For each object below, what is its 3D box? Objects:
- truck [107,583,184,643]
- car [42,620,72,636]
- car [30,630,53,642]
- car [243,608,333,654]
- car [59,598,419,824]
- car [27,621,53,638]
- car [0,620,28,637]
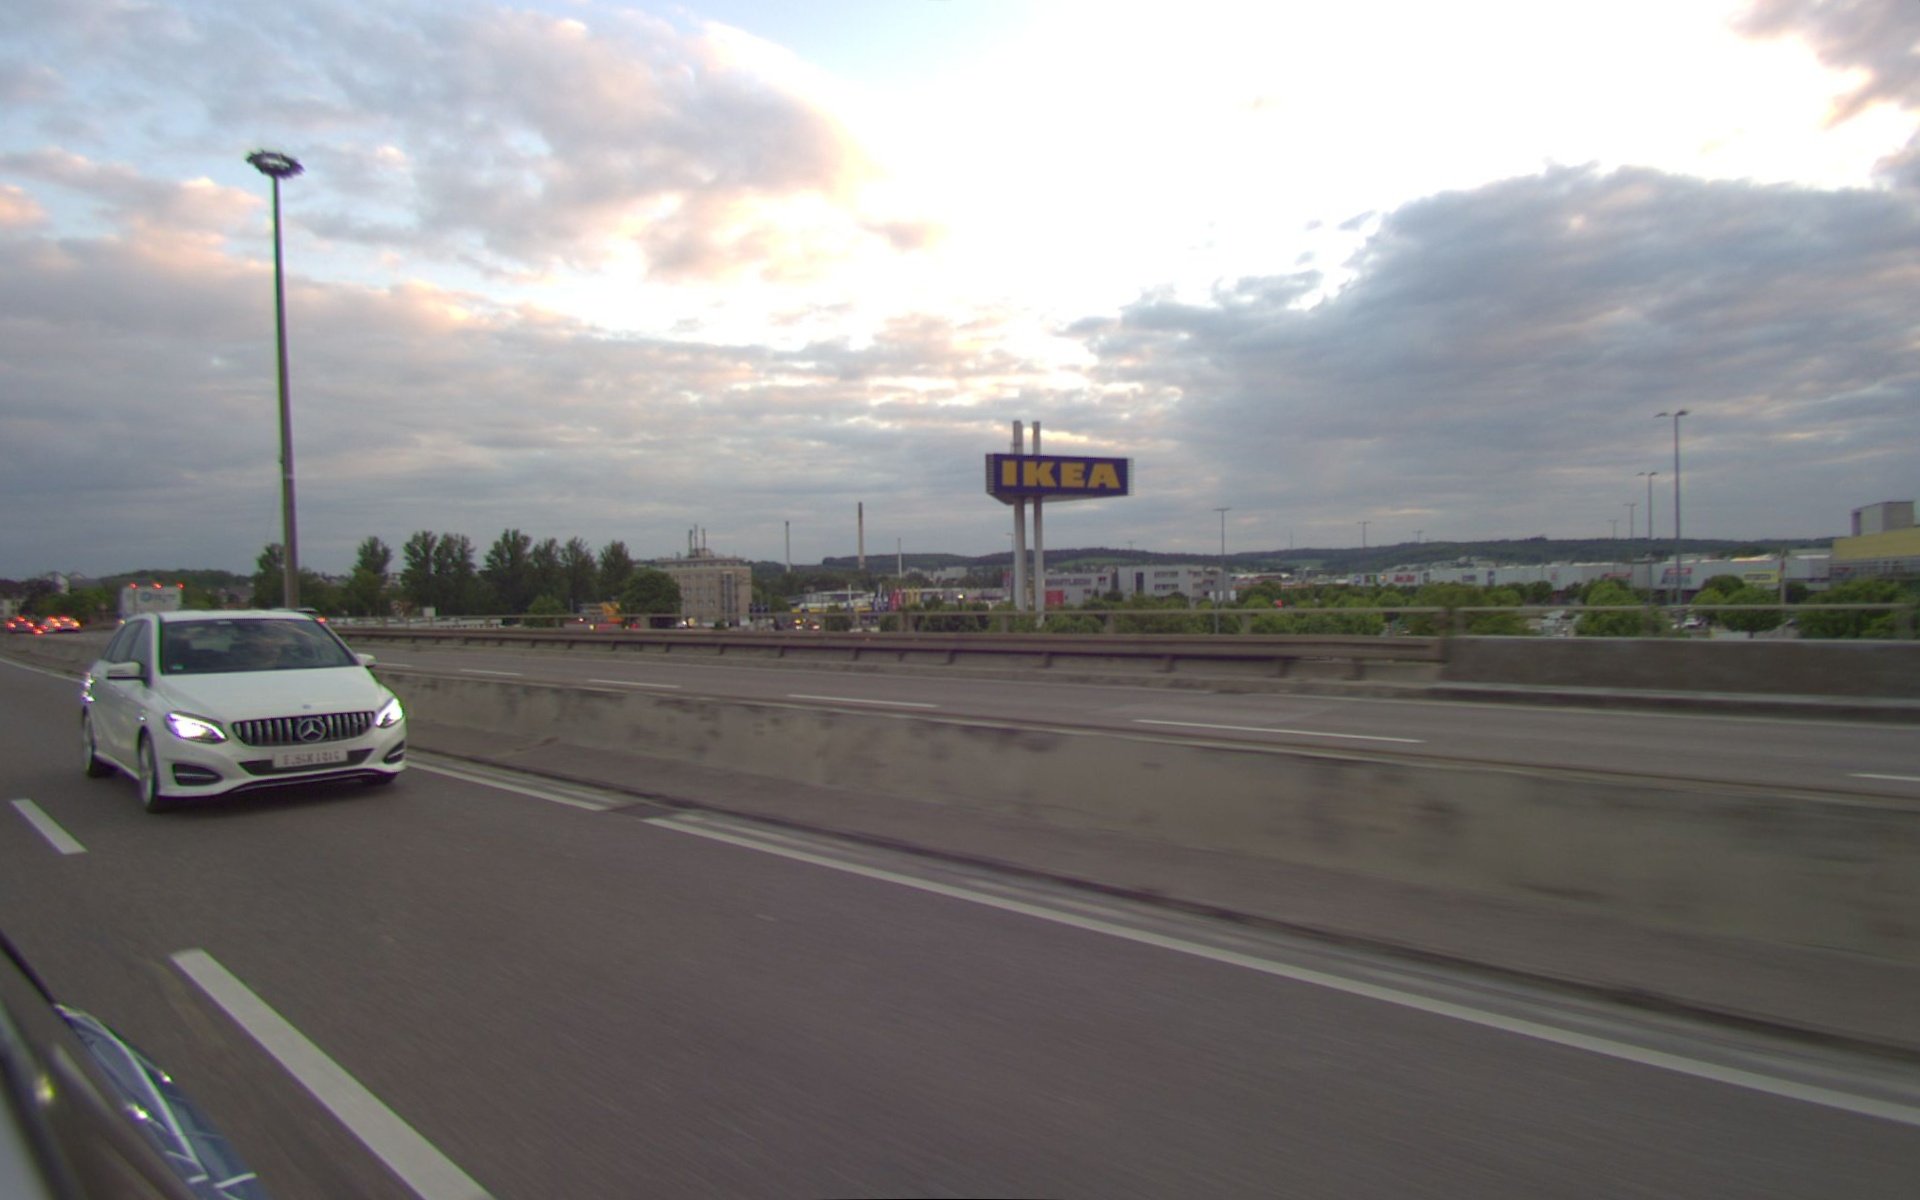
[{"bbox_3d":[-47.959,0.751,59.545,7.447,3.321,2.507,-1,0,43],"label":"truck"},{"bbox_3d":[-86.609,2.663,97.060,4.818,1.514,1.810,-1,-1,44],"label":"car"},{"bbox_3d":[-126.291,4.985,139.127,4.900,1.485,1.809,-3,-1,42],"label":"car"},{"bbox_3d":[-25.711,1.142,38.668,4.443,1.618,1.955,-1,0,44],"label":"car"},{"bbox_3d":[-6.772,0.850,9.261,4.782,1.548,1.673,-3,-1,42],"label":"car"},{"bbox_3d":[-110.011,3.521,121.018,5.459,1.915,1.880,-1,0,43],"label":"car"},{"bbox_3d":[-87.623,2.651,93.690,3.835,1.452,1.611,-3,-1,43],"label":"car"}]
